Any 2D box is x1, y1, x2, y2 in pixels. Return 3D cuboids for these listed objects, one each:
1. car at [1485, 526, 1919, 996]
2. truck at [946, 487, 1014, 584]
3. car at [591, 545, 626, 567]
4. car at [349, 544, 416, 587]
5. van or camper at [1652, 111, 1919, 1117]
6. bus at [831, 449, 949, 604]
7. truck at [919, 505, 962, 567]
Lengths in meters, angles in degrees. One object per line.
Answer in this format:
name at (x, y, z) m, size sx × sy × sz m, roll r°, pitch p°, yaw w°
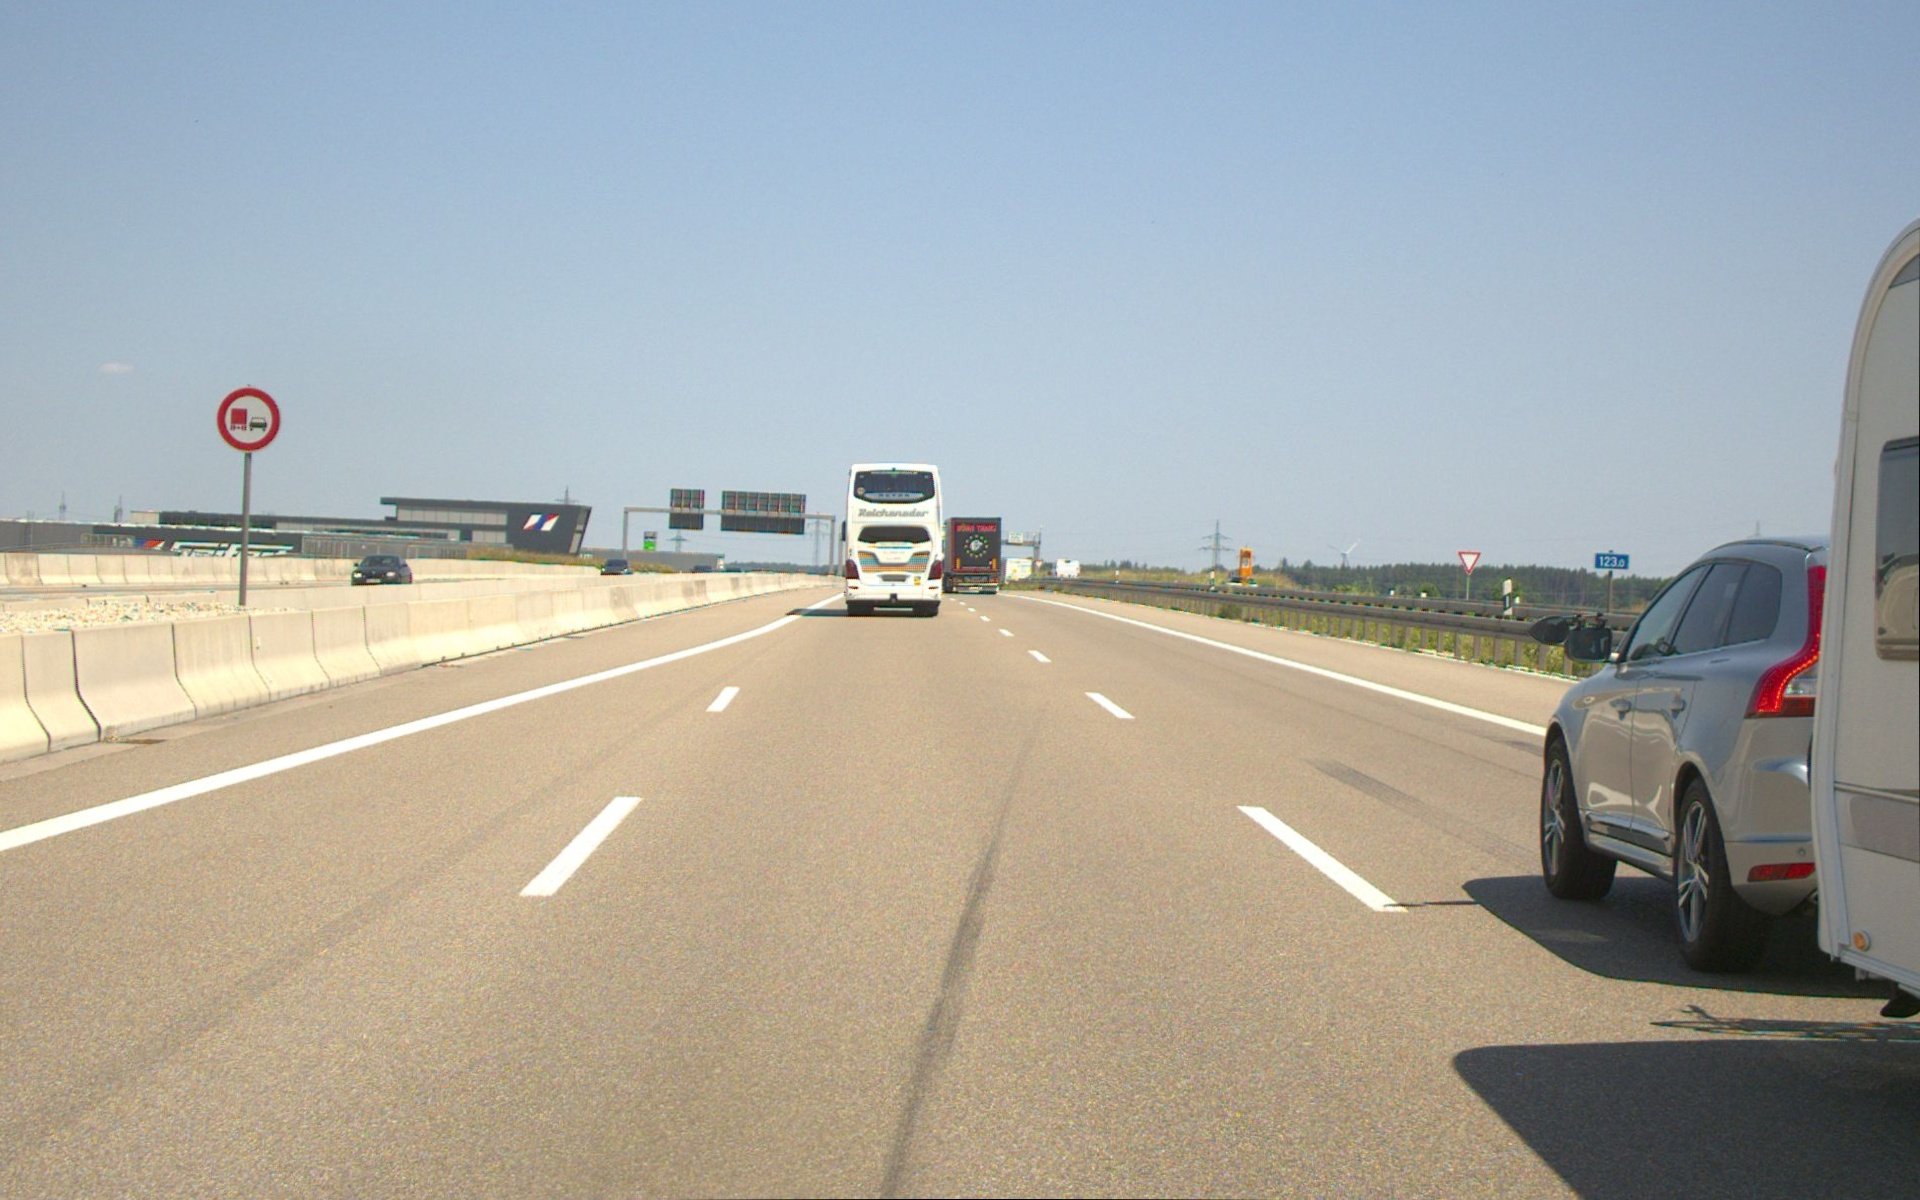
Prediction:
car at (3.563, 0.525, 14.369) m, size 1.880 × 1.617 × 4.904 m, roll 1°, pitch 1°, yaw -1°
truck at (1.065, -3.342, 184.323) m, size 3.379 × 4.449 × 13.566 m, roll 2°, pitch -2°, yaw 0°
car at (-23.362, -2.931, 228.924) m, size 1.911 × 1.415 × 4.550 m, roll 1°, pitch 1°, yaw -1°
car at (-21.244, -1.287, 126.553) m, size 1.732 × 1.531 × 4.549 m, roll 1°, pitch 1°, yaw -1°
van or camper at (3.739, 0.066, 8.000) m, size 2.512 × 2.584 × 7.818 m, roll 1°, pitch 1°, yaw -1°
bus at (-2.001, -1.993, 94.041) m, size 2.980 × 3.961 × 9.106 m, roll 1°, pitch 1°, yaw -2°
truck at (-1.231, -3.982, 213.831) m, size 2.437 × 3.776 × 6.494 m, roll 1°, pitch 1°, yaw -2°
